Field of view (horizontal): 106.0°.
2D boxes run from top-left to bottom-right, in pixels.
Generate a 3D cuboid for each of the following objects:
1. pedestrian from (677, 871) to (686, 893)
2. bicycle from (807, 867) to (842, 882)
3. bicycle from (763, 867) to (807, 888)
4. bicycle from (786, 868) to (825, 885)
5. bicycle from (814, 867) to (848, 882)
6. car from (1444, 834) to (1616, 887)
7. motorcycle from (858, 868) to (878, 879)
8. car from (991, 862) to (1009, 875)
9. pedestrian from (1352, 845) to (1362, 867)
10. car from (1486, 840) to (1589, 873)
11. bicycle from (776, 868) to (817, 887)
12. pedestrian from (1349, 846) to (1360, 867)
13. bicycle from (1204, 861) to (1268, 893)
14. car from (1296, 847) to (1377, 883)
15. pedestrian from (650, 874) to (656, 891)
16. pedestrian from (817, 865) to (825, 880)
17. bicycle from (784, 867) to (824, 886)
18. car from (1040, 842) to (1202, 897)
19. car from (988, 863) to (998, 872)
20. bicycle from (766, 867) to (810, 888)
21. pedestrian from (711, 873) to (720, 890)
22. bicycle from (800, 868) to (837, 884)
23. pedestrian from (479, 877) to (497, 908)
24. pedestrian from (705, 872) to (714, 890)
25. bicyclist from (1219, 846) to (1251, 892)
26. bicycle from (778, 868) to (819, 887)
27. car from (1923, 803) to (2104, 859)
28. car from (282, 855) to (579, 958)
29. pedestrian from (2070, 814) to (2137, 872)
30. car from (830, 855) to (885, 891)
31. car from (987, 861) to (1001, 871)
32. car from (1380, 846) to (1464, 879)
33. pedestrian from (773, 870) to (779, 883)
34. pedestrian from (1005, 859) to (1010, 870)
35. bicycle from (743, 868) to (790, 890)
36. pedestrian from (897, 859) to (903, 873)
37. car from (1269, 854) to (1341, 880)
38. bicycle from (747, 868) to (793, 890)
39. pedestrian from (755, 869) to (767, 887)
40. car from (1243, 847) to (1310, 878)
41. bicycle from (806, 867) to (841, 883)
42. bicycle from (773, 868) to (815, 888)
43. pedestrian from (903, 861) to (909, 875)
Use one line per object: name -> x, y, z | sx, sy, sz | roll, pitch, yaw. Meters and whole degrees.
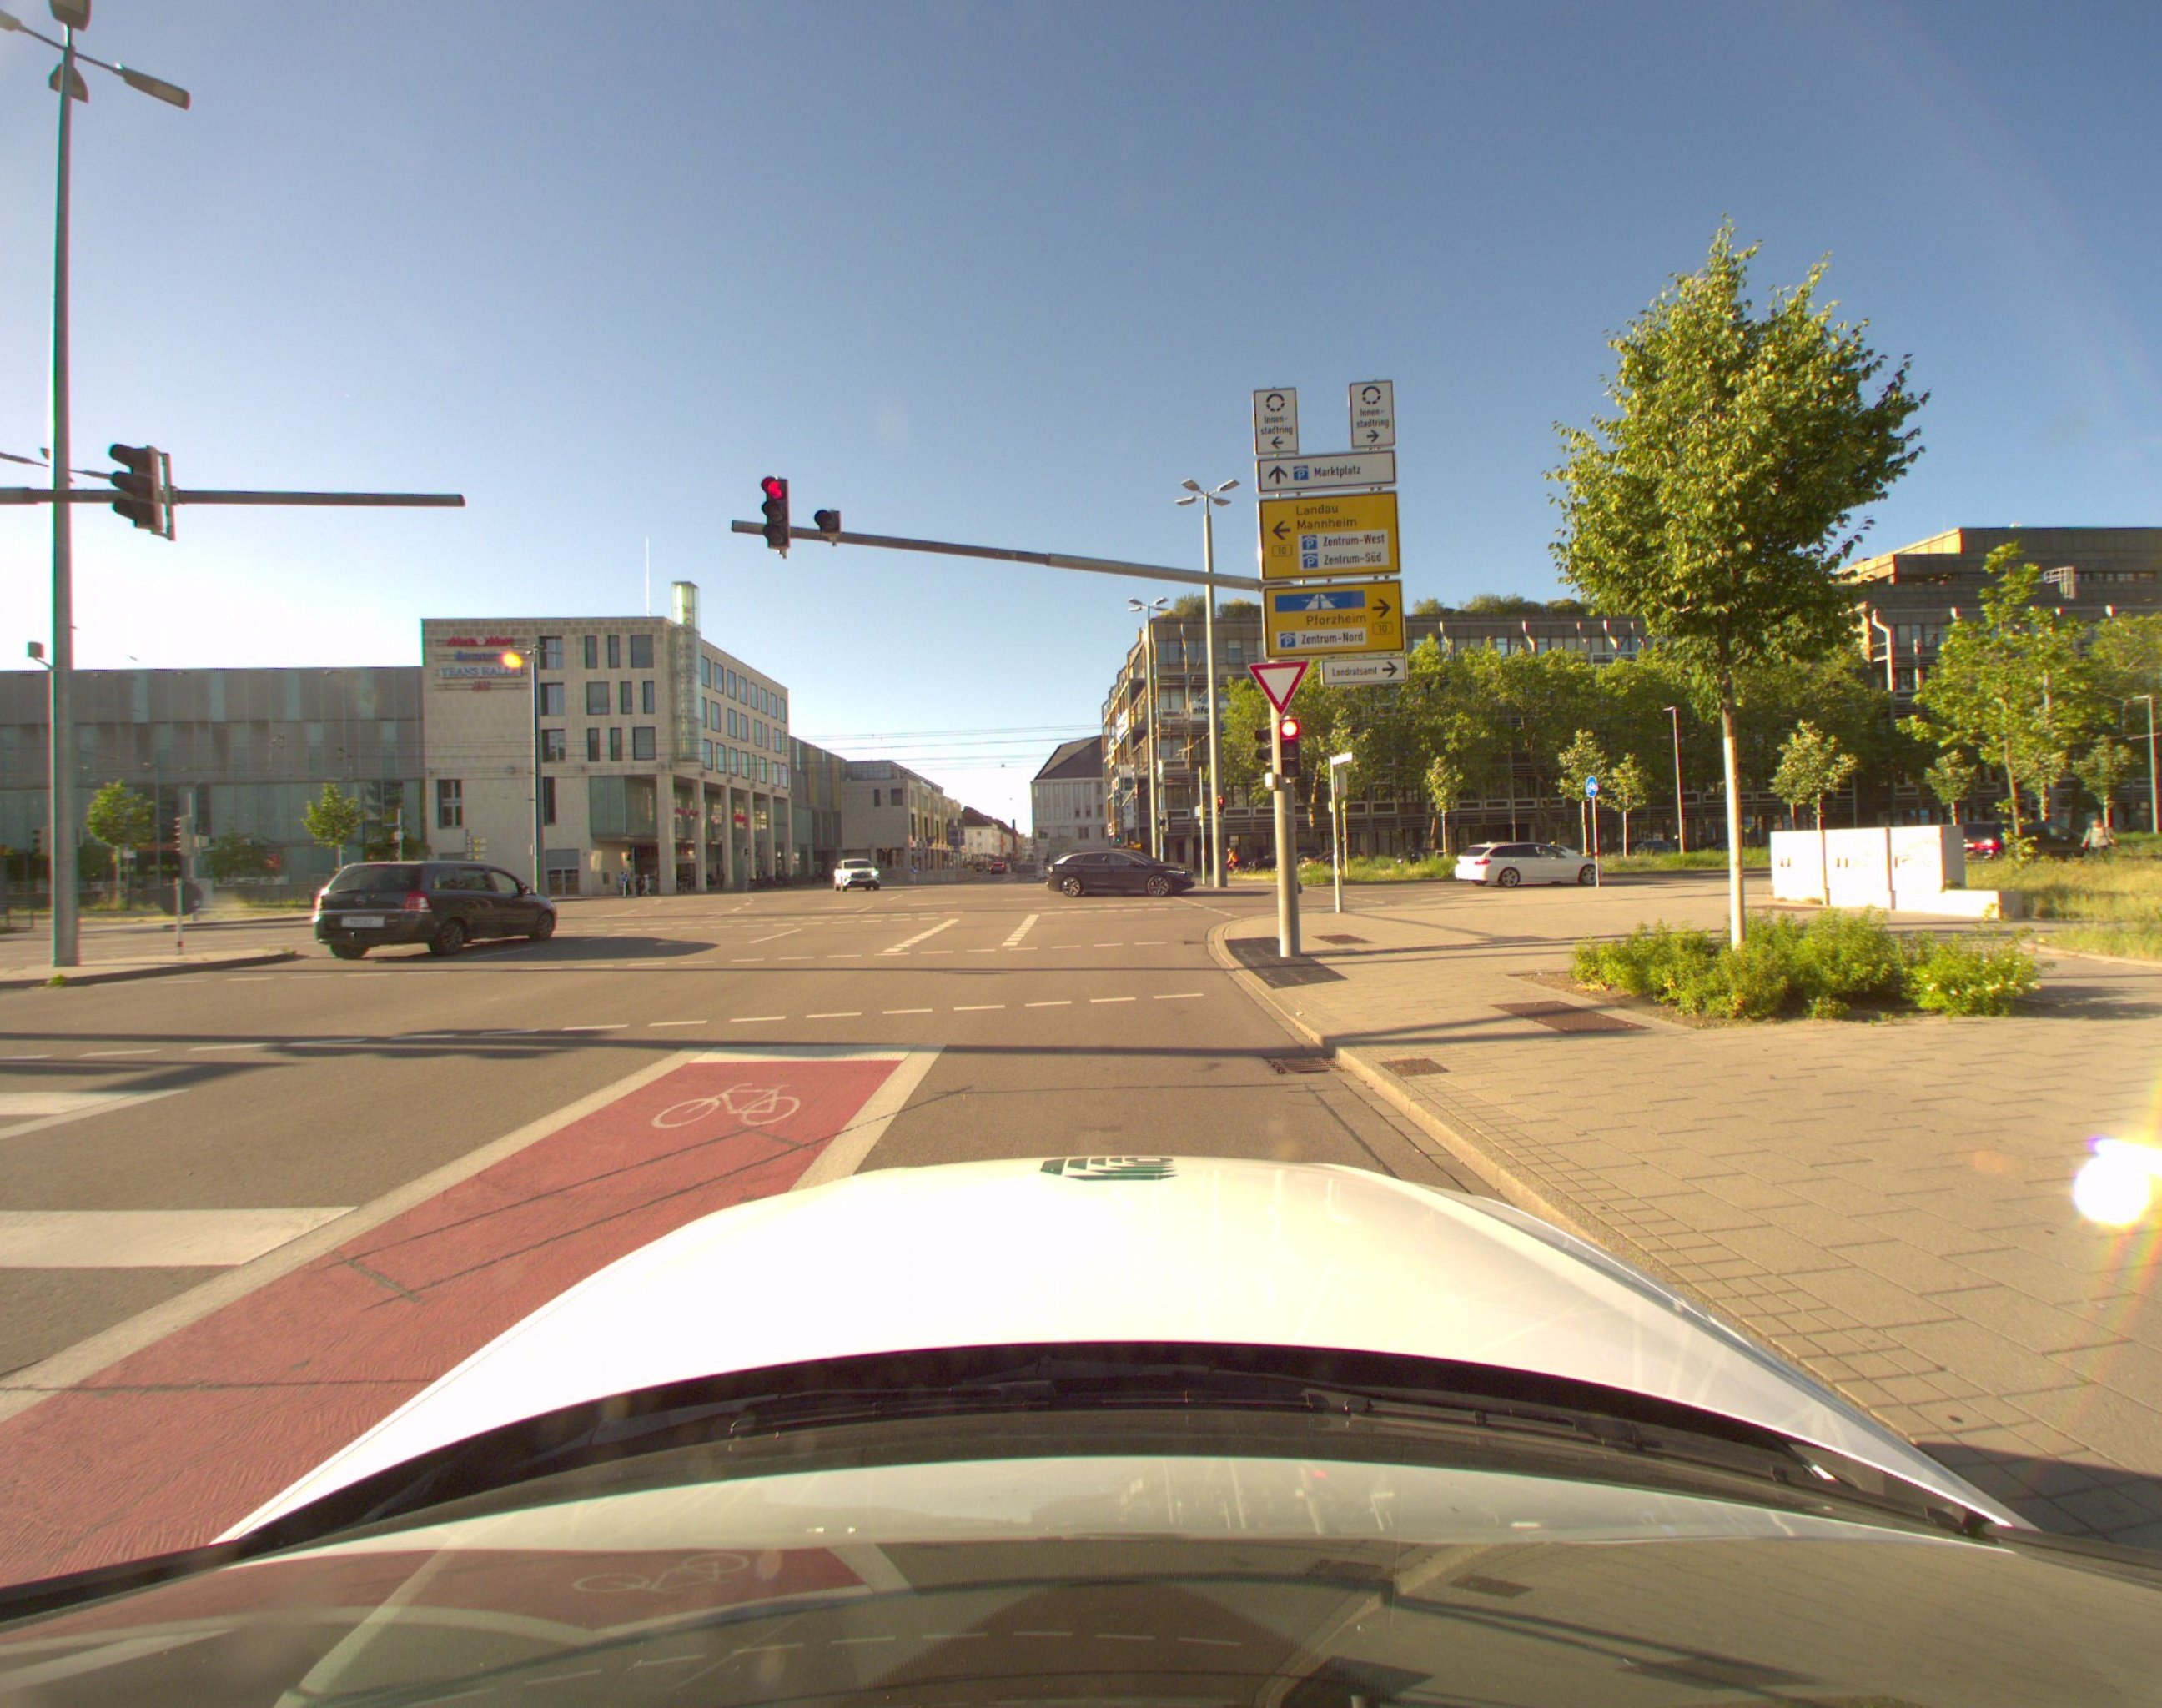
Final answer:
pedestrian -> -30.445, 2.155, 62.081 | 0.542, 1.642, 0.546 | -2, 0, -21
bicycle -> -27.920, 2.214, 88.584 | 3.491, 1.527, 0.984 | -2, 0, -10
bicycle -> -26.142, 2.072, 71.959 | 3.488, 1.696, 1.114 | -2, 0, -7
bicycle -> -27.407, 2.228, 81.165 | 3.491, 1.527, 0.984 | -2, 0, -10
bicycle -> -28.170, 2.294, 91.753 | 3.491, 1.527, 0.984 | -2, 0, -10
car -> 14.694, 0.201, 26.750 | 4.684, 1.528, 1.994 | -2, 0, -8
motorcycle -> -25.848, 2.374, 98.919 | 2.269, 1.318, 0.719 | -2, 0, -4
car -> -10.788, 1.882, 108.866 | 2.195, 1.607, 4.320 | -2, 0, -4
pedestrian -> 20.588, 0.145, 60.787 | 0.538, 1.669, 0.537 | -2, 0, -1
car -> 28.895, 0.137, 51.657 | 5.424, 2.014, 2.097 | 0, -1, -1
bicycle -> -26.854, 2.201, 76.863 | 3.491, 1.696, 0.984 | -2, 0, -10
pedestrian -> 20.612, 0.185, 61.419 | 0.538, 1.590, 0.586 | -2, 0, -1
bicycle -> 8.929, 1.312, 47.071 | 3.488, 1.659, 0.929 | -2, 0, -7
car -> 14.455, 0.615, 46.213 | 3.975, 2.014, 1.999 | 0, -1, -1
pedestrian -> -37.682, 2.513, 71.718 | 0.388, 1.426, 0.498 | -2, 0, -26
pedestrian -> -30.067, 2.147, 94.239 | 0.652, 1.642, 0.693 | -2, 0, -7
bicycle -> -27.246, 2.236, 80.168 | 3.491, 1.696, 0.984 | -2, 0, -10
car -> 1.331, 0.527, 26.943 | 4.896, 1.602, 2.010 | -2, -1, 20
car -> -18.699, 2.848, 173.136 | 1.752, 1.783, 3.997 | -2, 0, -2
bicycle -> -26.318, 2.117, 73.180 | 3.488, 1.696, 1.114 | -2, 0, -7
pedestrian -> -32.173, 2.398, 71.702 | 0.480, 1.510, 0.513 | -2, 0, -3
bicycle -> -27.546, 2.293, 85.586 | 3.491, 1.527, 0.984 | -2, 0, -10
pedestrian -> -32.836, 2.135, 45.099 | 0.523, 1.694, 0.548 | -2, 0, 1
pedestrian -> -32.465, 2.378, 71.081 | 0.510, 1.510, 0.513 | -2, 0, -3
bicyclist -> 8.888, 0.851, 47.075 | 1.566, 2.580, 0.929 | -2, 0, -7
bicycle -> -27.042, 2.212, 78.071 | 3.491, 1.696, 0.984 | -2, 0, -10
car -> 32.776, -0.773, 28.698 | 4.467, 1.758, 1.996 | -2, 0, -6
car -> -11.550, 0.827, 14.991 | 1.989, 1.607, 4.476 | 1, 0, -3
pedestrian -> 29.834, -0.305, 23.775 | 0.801, 1.630, 0.939 | -2, 0, -12
car -> -11.459, 0.928, 41.584 | 2.003, 1.660, 4.371 | -2, 0, -24
car -> -14.915, 2.090, 140.037 | 1.988, 1.660, 4.402 | -3, -1, -2
car -> 21.408, 0.556, 51.251 | 4.435, 2.014, 1.998 | 0, -1, -4
pedestrian -> -33.204, 2.456, 88.689 | 0.640, 1.435, 0.472 | -2, 0, -21
pedestrian -> -9.779, 1.363, 108.930 | 0.608, 1.411, 0.569 | -2, 0, -5
bicycle -> -26.729, 2.099, 69.298 | 3.488, 1.696, 1.114 | -2, 0, -7
pedestrian -> -26.507, 1.700, 119.053 | 0.623, 2.013, 0.734 | -2, 0, 4
car -> 13.854, 0.778, 50.479 | 3.976, 1.508, 1.867 | -1, 0, -2
bicycle -> -26.909, 2.150, 70.520 | 3.488, 1.696, 1.114 | -2, 0, -7
pedestrian -> -30.202, 2.292, 76.859 | 0.784, 1.642, 0.693 | -2, 0, -9
car -> 12.842, 0.556, 53.627 | 3.975, 2.014, 1.999 | 0, -1, -1
bicycle -> -27.651, 2.214, 87.455 | 3.491, 1.527, 0.984 | -2, 0, -10
bicycle -> -26.678, 2.182, 75.766 | 3.491, 1.696, 0.984 | -2, 0, -10
pedestrian -> -25.532, 2.060, 119.054 | 0.623, 2.013, 0.734 | -2, 0, 4
